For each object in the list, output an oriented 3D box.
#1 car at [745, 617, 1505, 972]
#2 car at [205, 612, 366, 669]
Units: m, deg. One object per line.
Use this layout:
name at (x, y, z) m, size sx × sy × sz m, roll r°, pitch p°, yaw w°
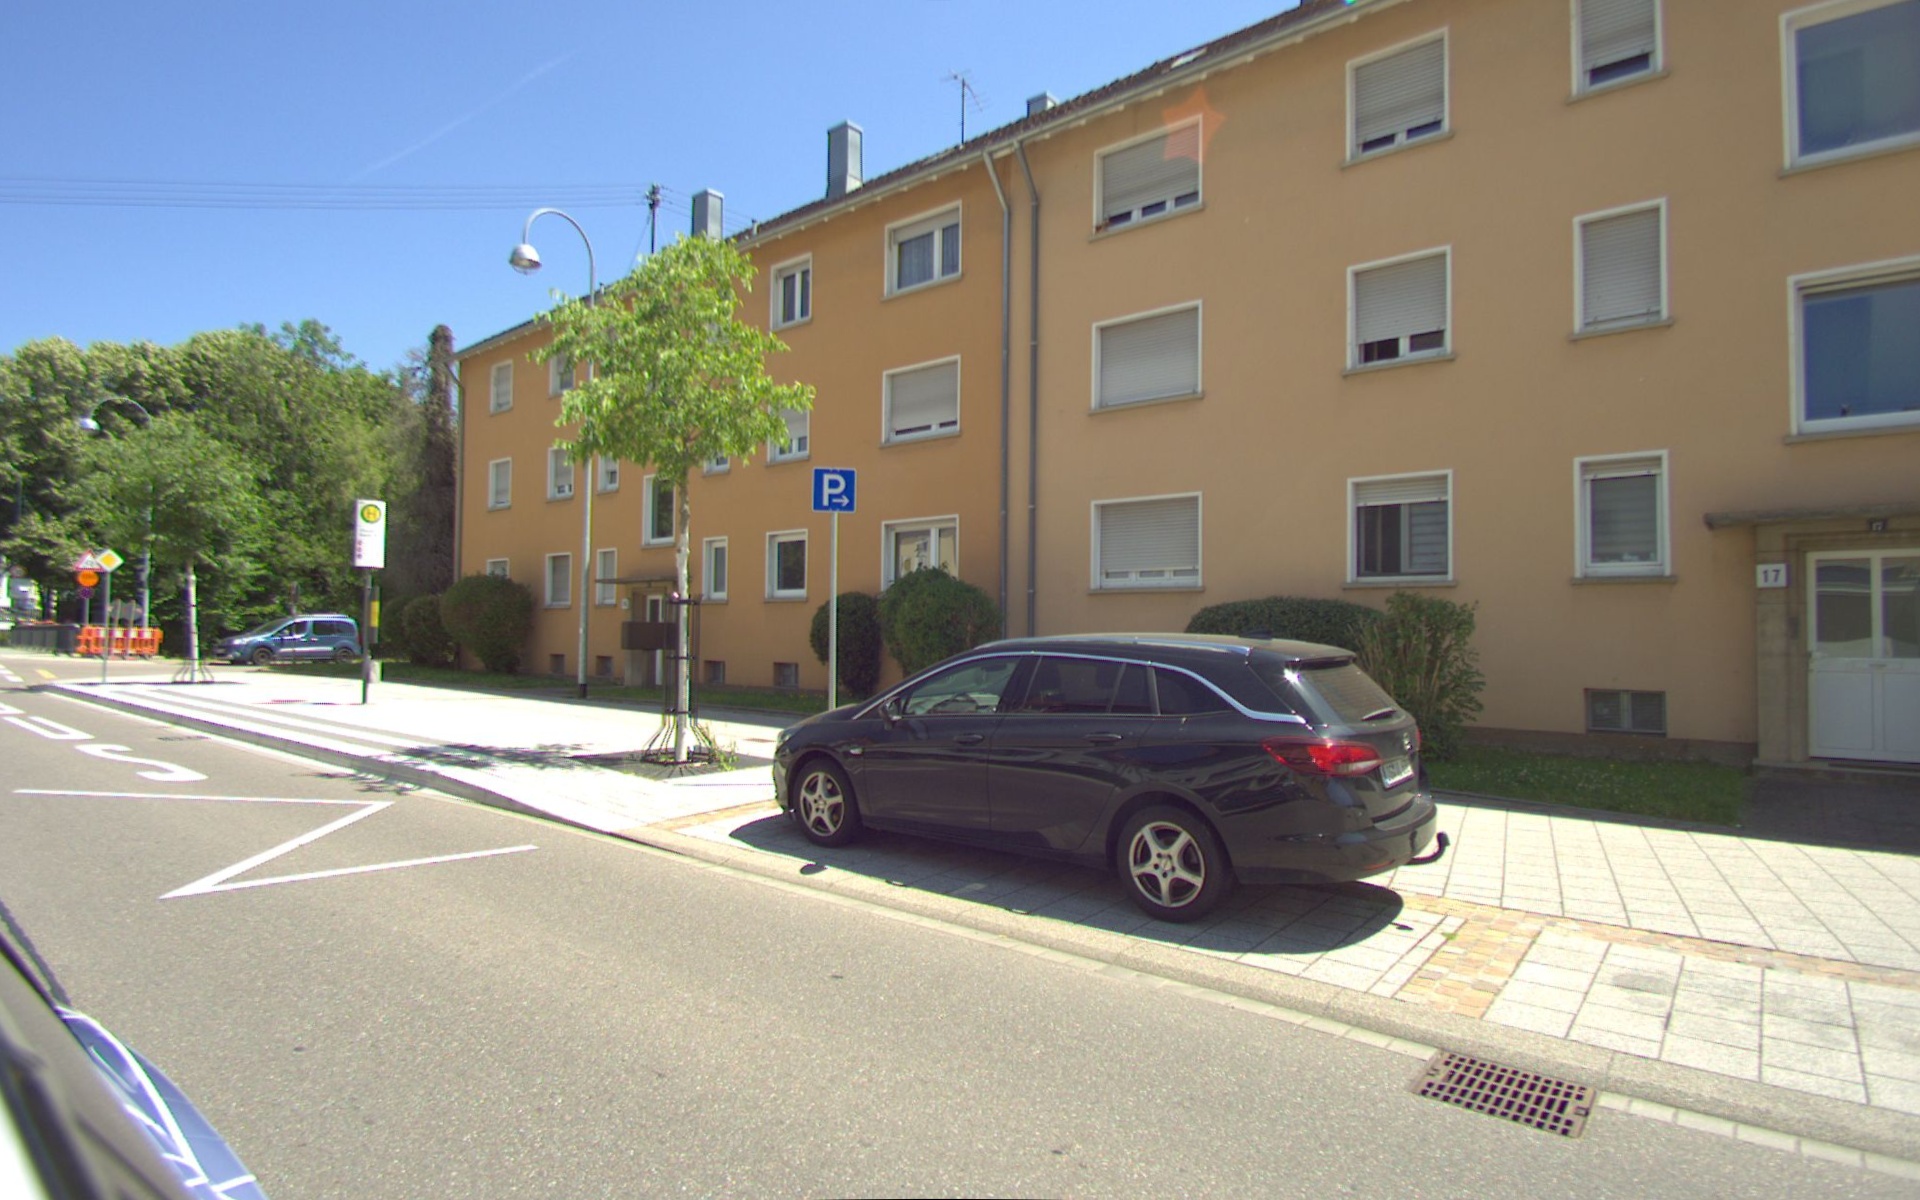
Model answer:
car at (0.808, 0.910, 6.583) m, size 4.556 × 1.518 × 1.839 m, roll -2°, pitch -1°, yaw 39°
car at (-23.927, 1.462, 36.067) m, size 1.811 × 1.888 × 4.393 m, roll 0°, pitch -3°, yaw 29°
